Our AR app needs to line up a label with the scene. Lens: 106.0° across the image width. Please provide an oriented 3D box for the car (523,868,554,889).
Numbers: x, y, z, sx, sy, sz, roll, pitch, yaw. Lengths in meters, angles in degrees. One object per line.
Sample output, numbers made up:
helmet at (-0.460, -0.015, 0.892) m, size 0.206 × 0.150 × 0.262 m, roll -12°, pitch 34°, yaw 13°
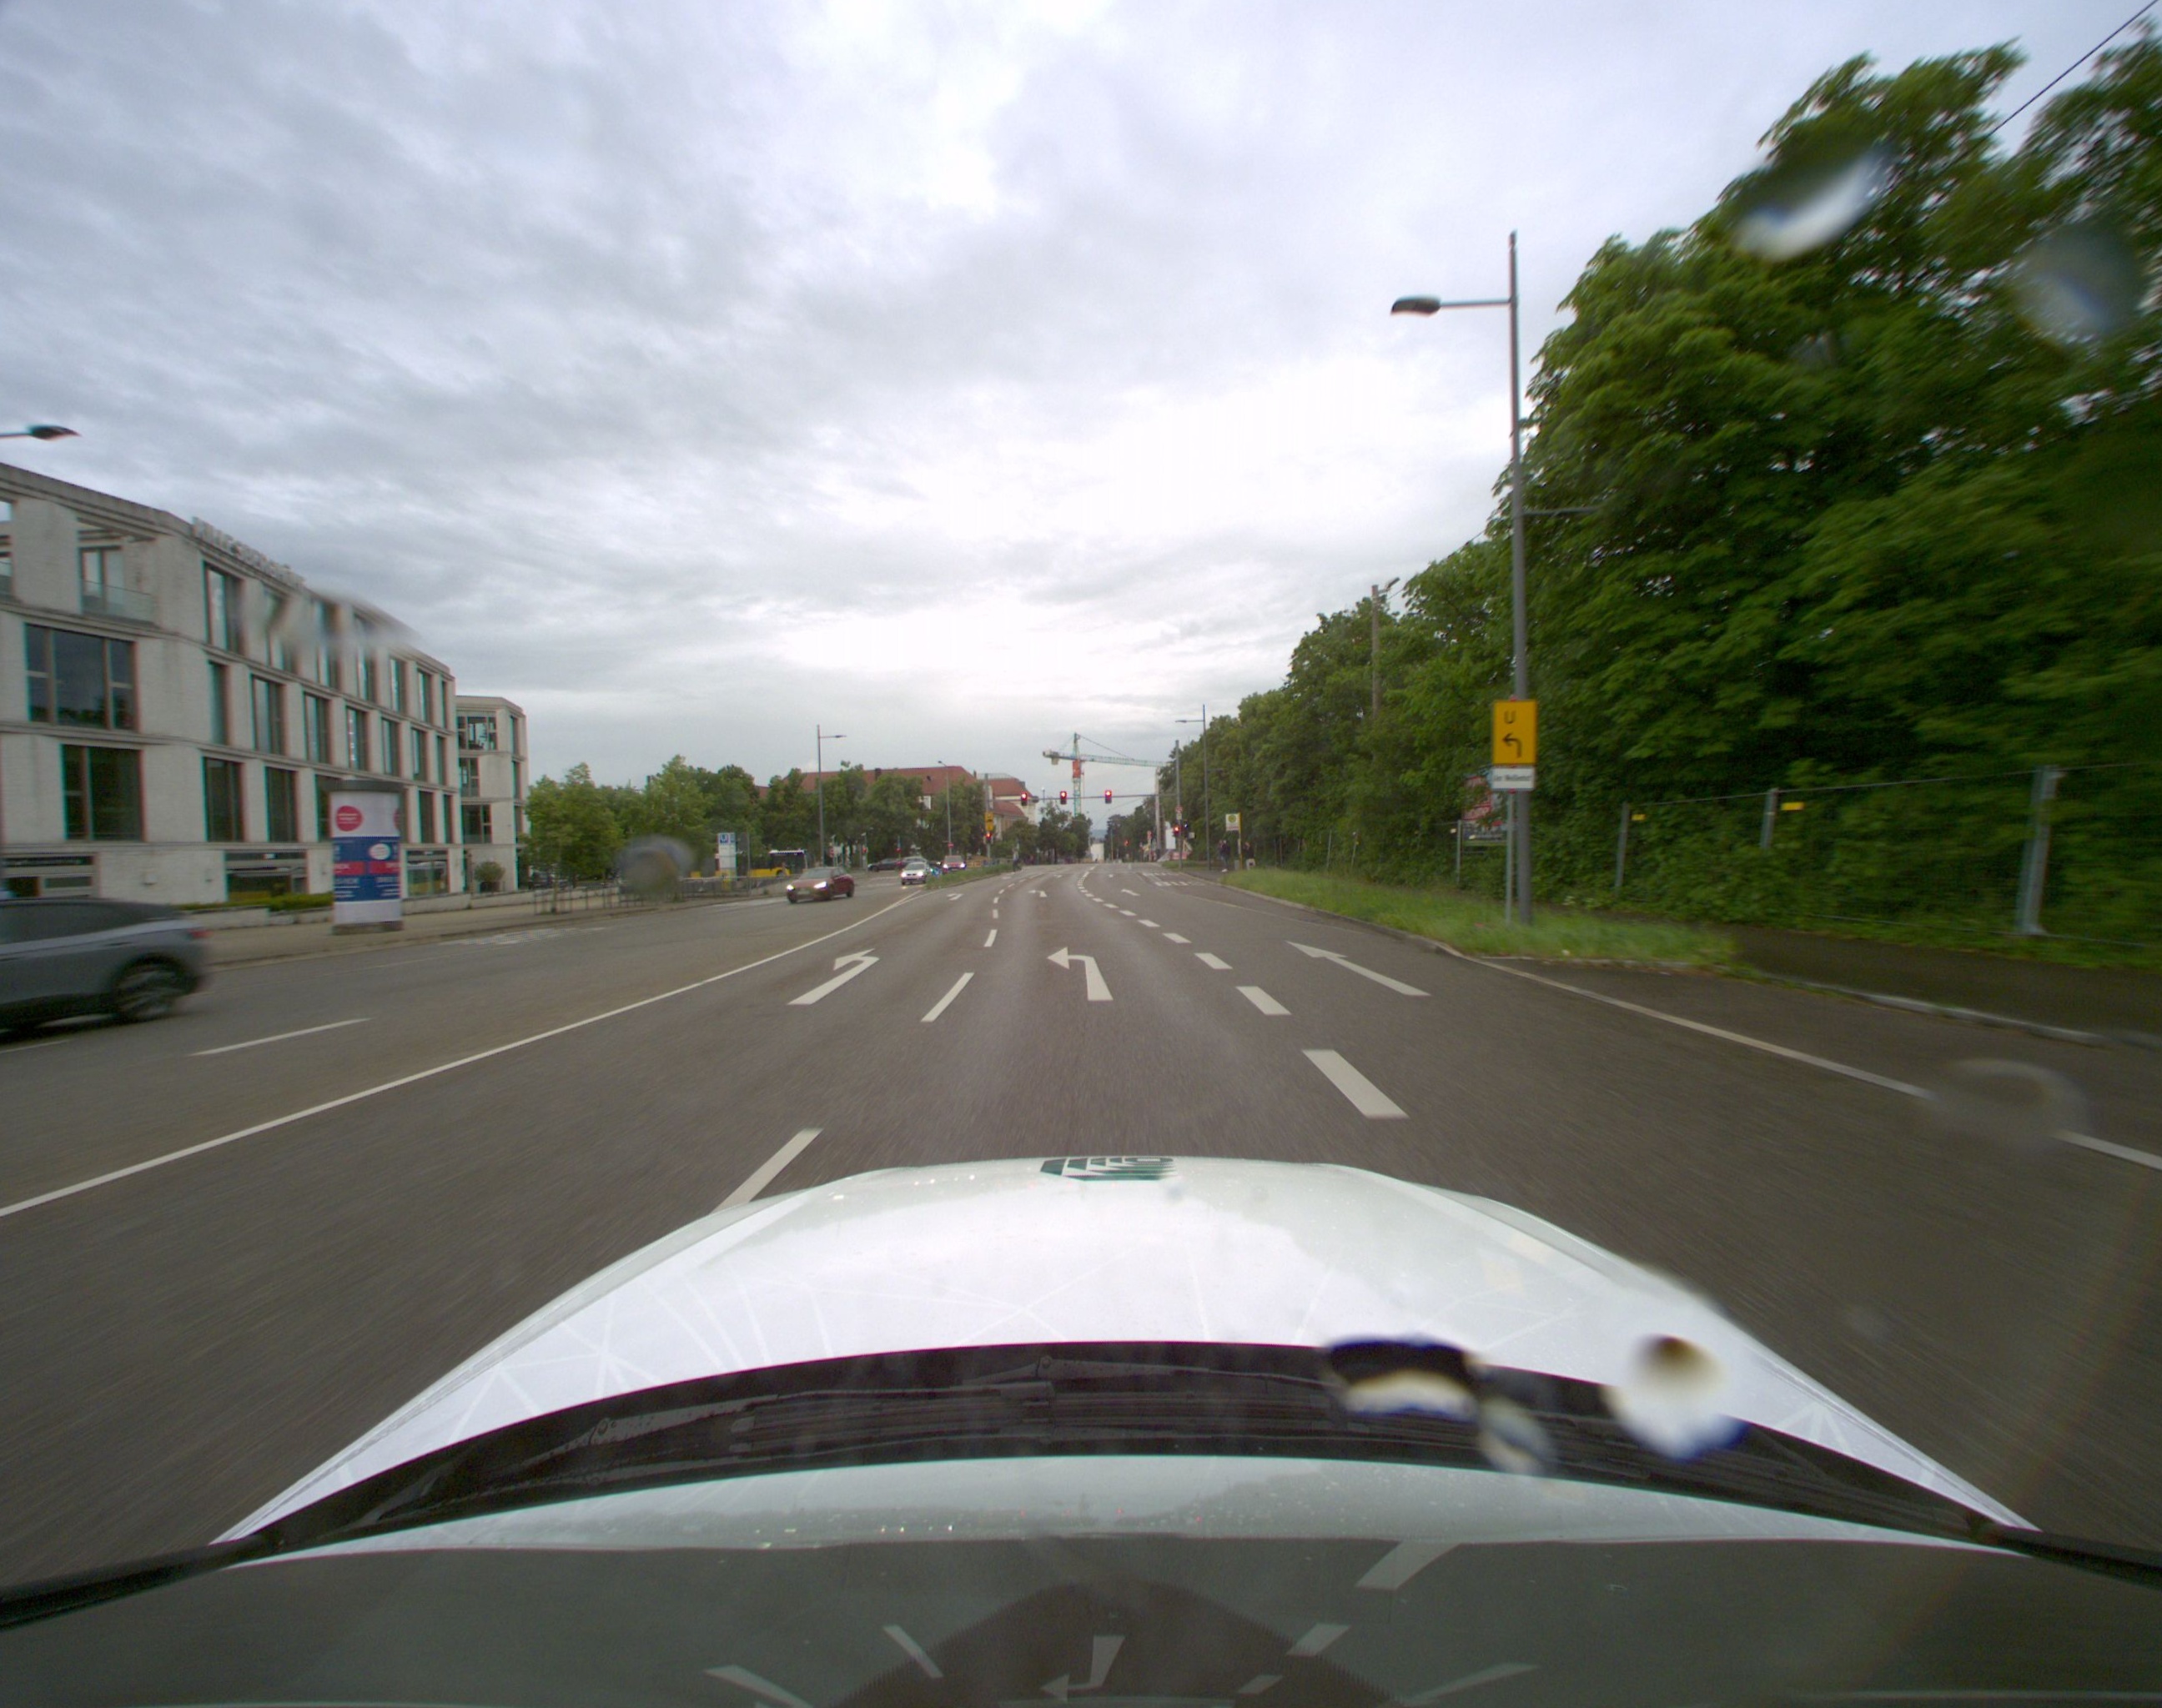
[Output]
car at (-48.672, 2.153, 73.152) m, size 1.783 × 1.731 × 3.965 m, roll -2°, pitch 0°, yaw -26°

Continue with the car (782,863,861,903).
car at (-11.266, 1.226, 35.699) m, size 1.825 × 1.416 × 4.467 m, roll -4°, pitch 0°, yaw 2°

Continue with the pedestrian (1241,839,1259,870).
pedestrian at (9.193, 0.007, 44.289) m, size 0.674 × 1.658 × 0.792 m, roll -2°, pitch 0°, yaw -4°

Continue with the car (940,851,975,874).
car at (-10.107, 0.628, 66.851) m, size 1.846 × 1.683 × 4.739 m, roll -4°, pitch 0°, yaw 2°

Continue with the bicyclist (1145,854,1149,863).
bicyclist at (11.460, 0.805, 141.100) m, size 0.717 × 1.564 × 1.144 m, roll 0°, pitch -1°, yaw 3°

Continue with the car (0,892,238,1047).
car at (-12.497, 1.342, 8.801) m, size 1.825 × 1.572 × 4.595 m, roll -4°, pitch -1°, yaw 2°

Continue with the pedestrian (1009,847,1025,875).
pedestrian at (-4.859, 0.524, 61.789) m, size 0.935 × 2.013 × 0.849 m, roll -5°, pitch 0°, yaw 7°

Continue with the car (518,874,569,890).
car at (-53.795, 2.755, 81.552) m, size 3.954 × 1.425 × 1.668 m, roll -1°, pitch 0°, yaw 0°

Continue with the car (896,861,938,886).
car at (-10.825, 1.249, 54.015) m, size 1.756 × 1.416 × 3.880 m, roll -4°, pitch 0°, yaw 2°

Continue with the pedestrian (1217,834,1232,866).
pedestrian at (8.629, -0.221, 48.960) m, size 0.639 × 1.901 × 0.717 m, roll -2°, pitch 0°, yaw -4°

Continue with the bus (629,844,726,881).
bus at (-41.370, 0.846, 83.640) m, size 8.510 × 3.307 × 2.900 m, roll -2°, pitch 0°, yaw 3°

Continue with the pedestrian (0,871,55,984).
pedestrian at (-18.151, 1.230, 13.718) m, size 0.750 × 1.842 × 0.747 m, roll -2°, pitch -1°, yaw 4°

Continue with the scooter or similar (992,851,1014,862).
scooter or similar at (-11.668, 0.368, 121.977) m, size 3.078 × 1.440 × 0.948 m, roll -2°, pitch 0°, yaw -1°

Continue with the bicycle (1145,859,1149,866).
bicycle at (11.463, 1.426, 141.114) m, size 0.717 × 1.193 × 1.757 m, roll 0°, pitch -1°, yaw 4°

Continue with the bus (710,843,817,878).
bus at (-32.294, 0.654, 83.130) m, size 9.684 × 3.103 × 2.900 m, roll -2°, pitch 0°, yaw 3°
